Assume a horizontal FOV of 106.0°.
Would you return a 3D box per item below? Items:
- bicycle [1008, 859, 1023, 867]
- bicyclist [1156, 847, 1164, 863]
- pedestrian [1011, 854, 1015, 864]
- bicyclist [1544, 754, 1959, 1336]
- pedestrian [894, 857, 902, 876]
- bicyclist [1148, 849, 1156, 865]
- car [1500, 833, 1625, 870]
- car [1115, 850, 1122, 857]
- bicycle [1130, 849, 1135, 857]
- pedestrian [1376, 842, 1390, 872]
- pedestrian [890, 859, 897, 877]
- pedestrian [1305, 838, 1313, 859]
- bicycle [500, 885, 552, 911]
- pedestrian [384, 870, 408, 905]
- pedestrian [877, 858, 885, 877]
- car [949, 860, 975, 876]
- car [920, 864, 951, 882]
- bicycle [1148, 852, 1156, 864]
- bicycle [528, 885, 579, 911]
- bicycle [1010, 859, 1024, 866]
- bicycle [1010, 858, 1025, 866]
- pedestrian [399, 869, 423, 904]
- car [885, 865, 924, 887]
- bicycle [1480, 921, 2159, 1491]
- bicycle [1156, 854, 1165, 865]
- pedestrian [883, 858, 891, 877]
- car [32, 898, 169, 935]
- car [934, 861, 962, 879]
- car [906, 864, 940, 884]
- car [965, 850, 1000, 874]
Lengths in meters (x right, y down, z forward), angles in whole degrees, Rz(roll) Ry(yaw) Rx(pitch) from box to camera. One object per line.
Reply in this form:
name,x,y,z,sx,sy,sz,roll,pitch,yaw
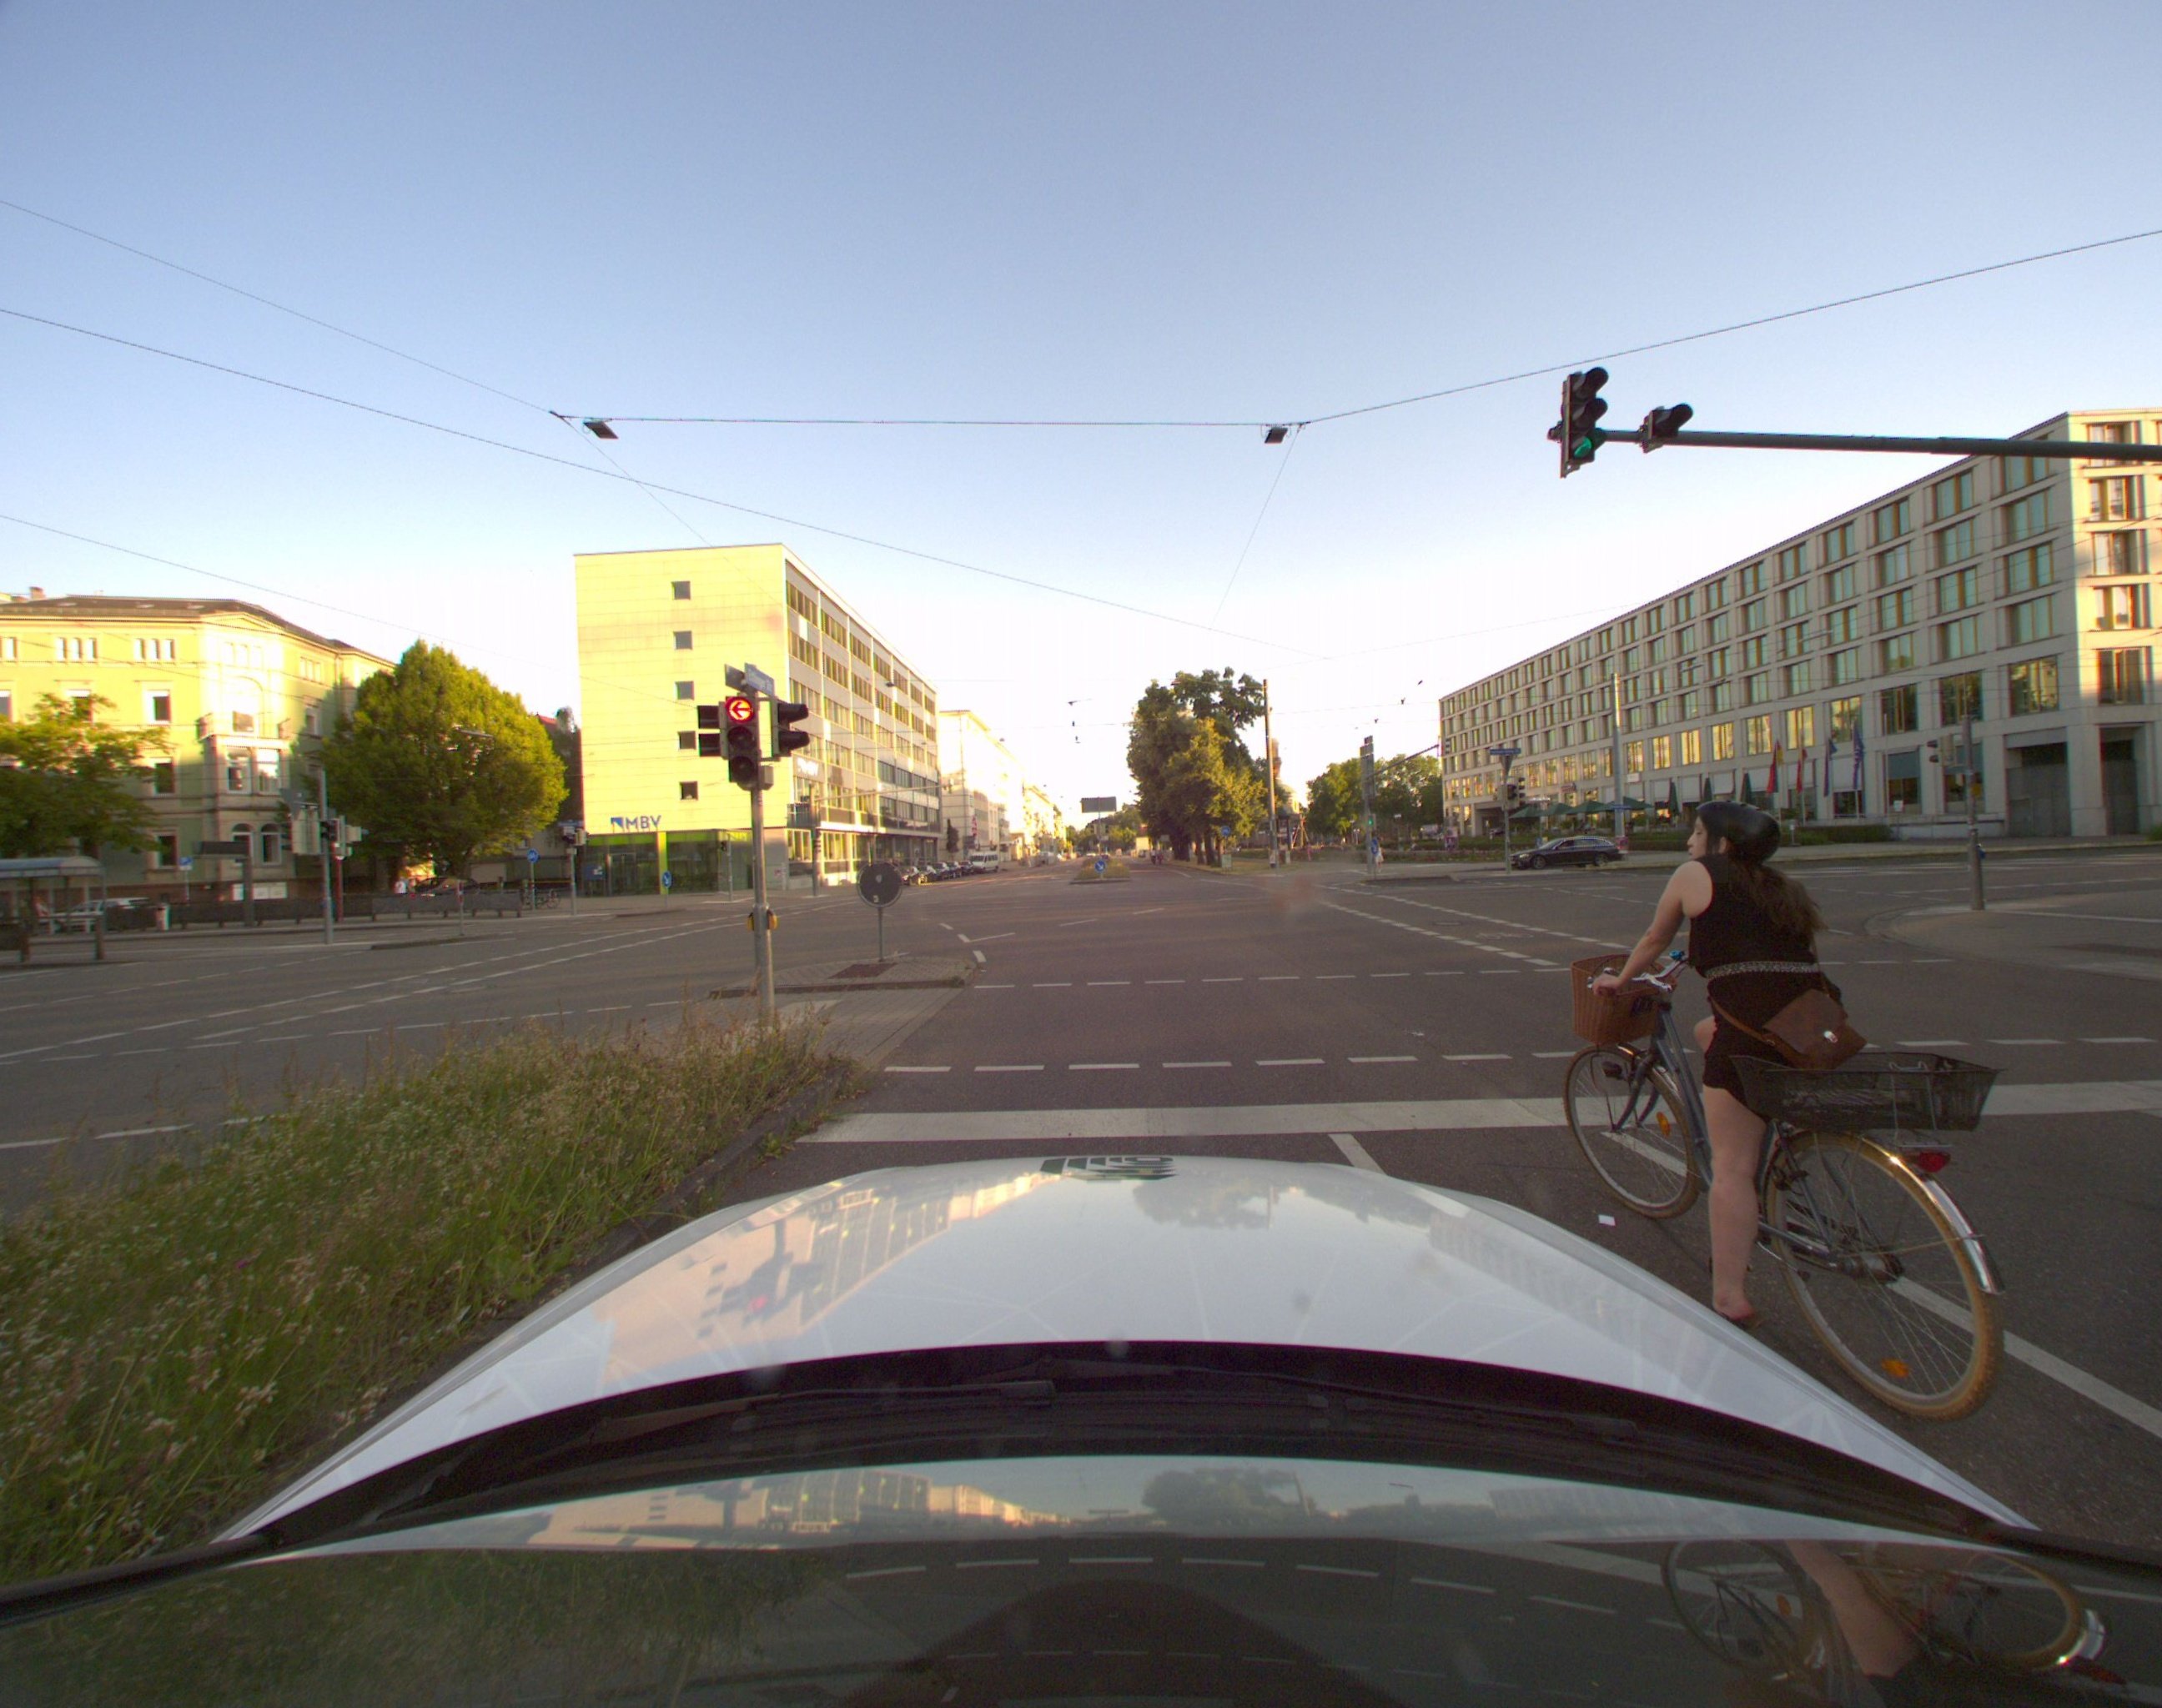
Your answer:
bicycle,-10.094,1.322,125.892,2.198,1.112,0.619,-3,0,0
bicyclist,8.526,0.121,87.582,0.744,1.691,0.799,-3,0,1
pedestrian,-13.819,1.059,165.359,0.677,2.013,0.545,-3,0,1
bicyclist,2.175,0.539,2.798,0.597,1.636,0.999,-1,0,2
pedestrian,-16.621,1.118,73.864,0.549,1.679,0.500,-3,0,1
bicyclist,7.637,0.347,87.376,0.744,1.663,0.873,-3,0,1
car,23.103,-0.135,39.221,4.803,1.515,2.002,-3,0,4
car,8.963,-0.079,194.356,1.403,1.641,4.000,-3,0,1
bicycle,13.107,-0.308,208.113,0.997,2.013,4.007,-3,0,6
pedestrian,15.948,0.173,43.014,0.489,1.540,0.408,-3,0,1
pedestrian,-17.184,1.291,74.583,0.498,1.679,0.500,-3,0,1
pedestrian,17.792,-0.435,63.556,0.458,1.656,0.567,-3,0,1
bicycle,-27.122,2.123,39.857,0.832,1.112,2.216,-3,0,6
pedestrian,-36.122,1.739,42.921,0.641,1.790,0.720,-3,0,-12
pedestrian,-18.136,1.256,73.826,0.549,1.679,0.500,-3,0,1
car,-12.390,1.447,85.255,1.913,1.568,4.002,-3,0,2
car,-13.109,1.684,73.730,1.913,1.464,4.002,-3,0,2
bicycle,7.645,0.418,87.632,0.744,1.144,2.506,-3,0,2
bicycle,-25.801,2.141,39.859,0.832,1.112,2.216,-3,0,6
bicycle,-10.013,1.320,127.397,2.198,1.112,0.689,-3,0,0
bicycle,-10.059,1.274,129.340,2.198,1.236,0.839,-3,0,0
pedestrian,-35.965,1.744,43.731,0.641,1.790,0.720,-3,0,-12
car,-13.512,1.660,62.421,1.913,1.464,4.105,-3,0,2
bicycle,2.179,0.890,2.867,0.609,1.132,2.005,-1,0,2
bicycle,8.554,0.558,87.711,0.744,1.144,2.506,-3,0,2
pedestrian,-17.779,1.259,74.530,0.549,1.679,0.500,-3,0,1
car,-45.259,2.847,37.671,3.588,1.372,1.833,-3,0,-15
car,-12.858,1.574,79.032,1.913,1.568,4.002,-3,0,2
car,-13.317,1.647,68.918,1.913,1.464,4.002,-3,0,2
car,-11.064,0.867,91.690,1.988,2.478,5.888,-3,0,12
